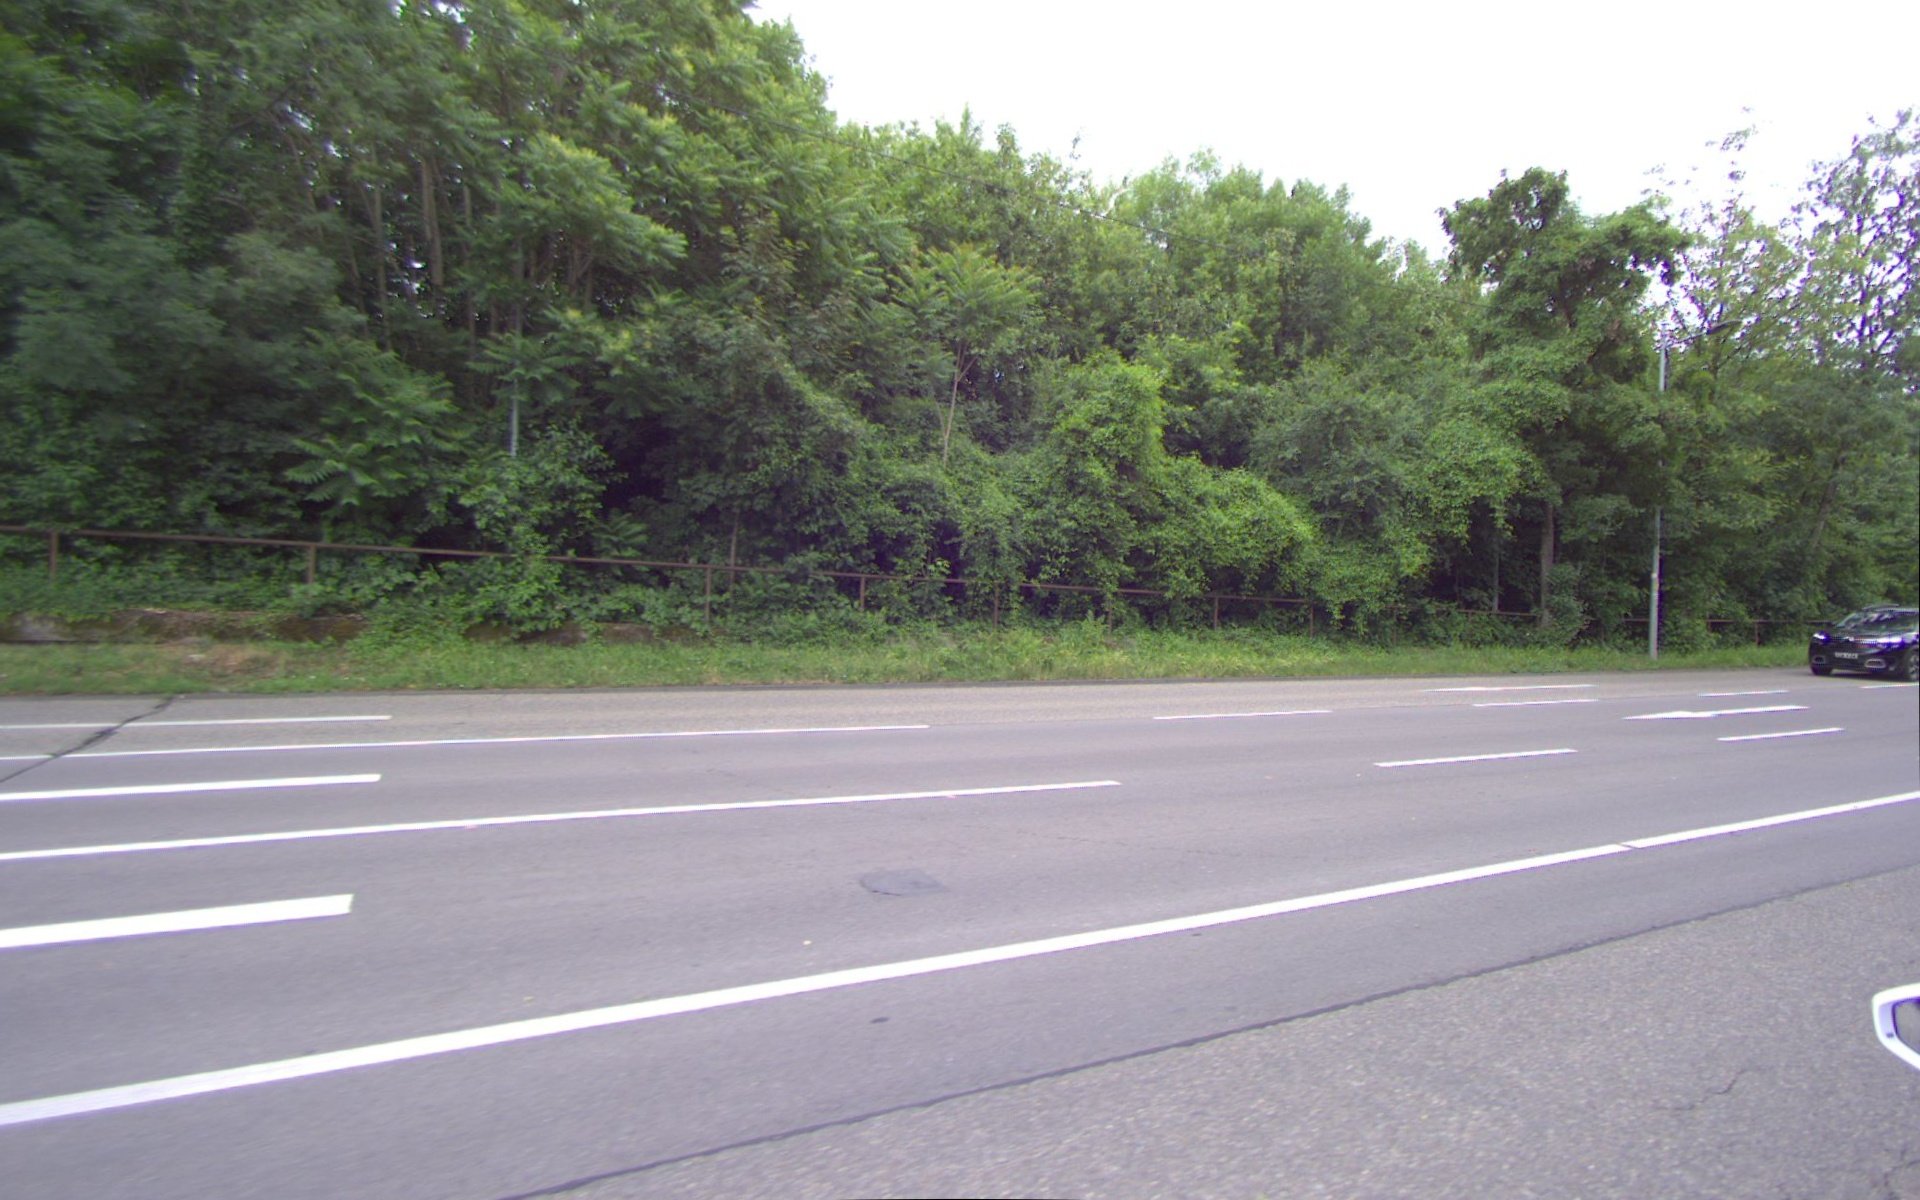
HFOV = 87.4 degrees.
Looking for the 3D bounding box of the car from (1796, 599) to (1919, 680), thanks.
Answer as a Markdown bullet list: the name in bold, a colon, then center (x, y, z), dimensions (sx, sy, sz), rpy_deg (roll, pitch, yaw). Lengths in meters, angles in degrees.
- **car**: center (21.598, 0.901, 23.335), dimensions (4.167, 1.675, 1.815), rpy_deg (2, 2, -27)
